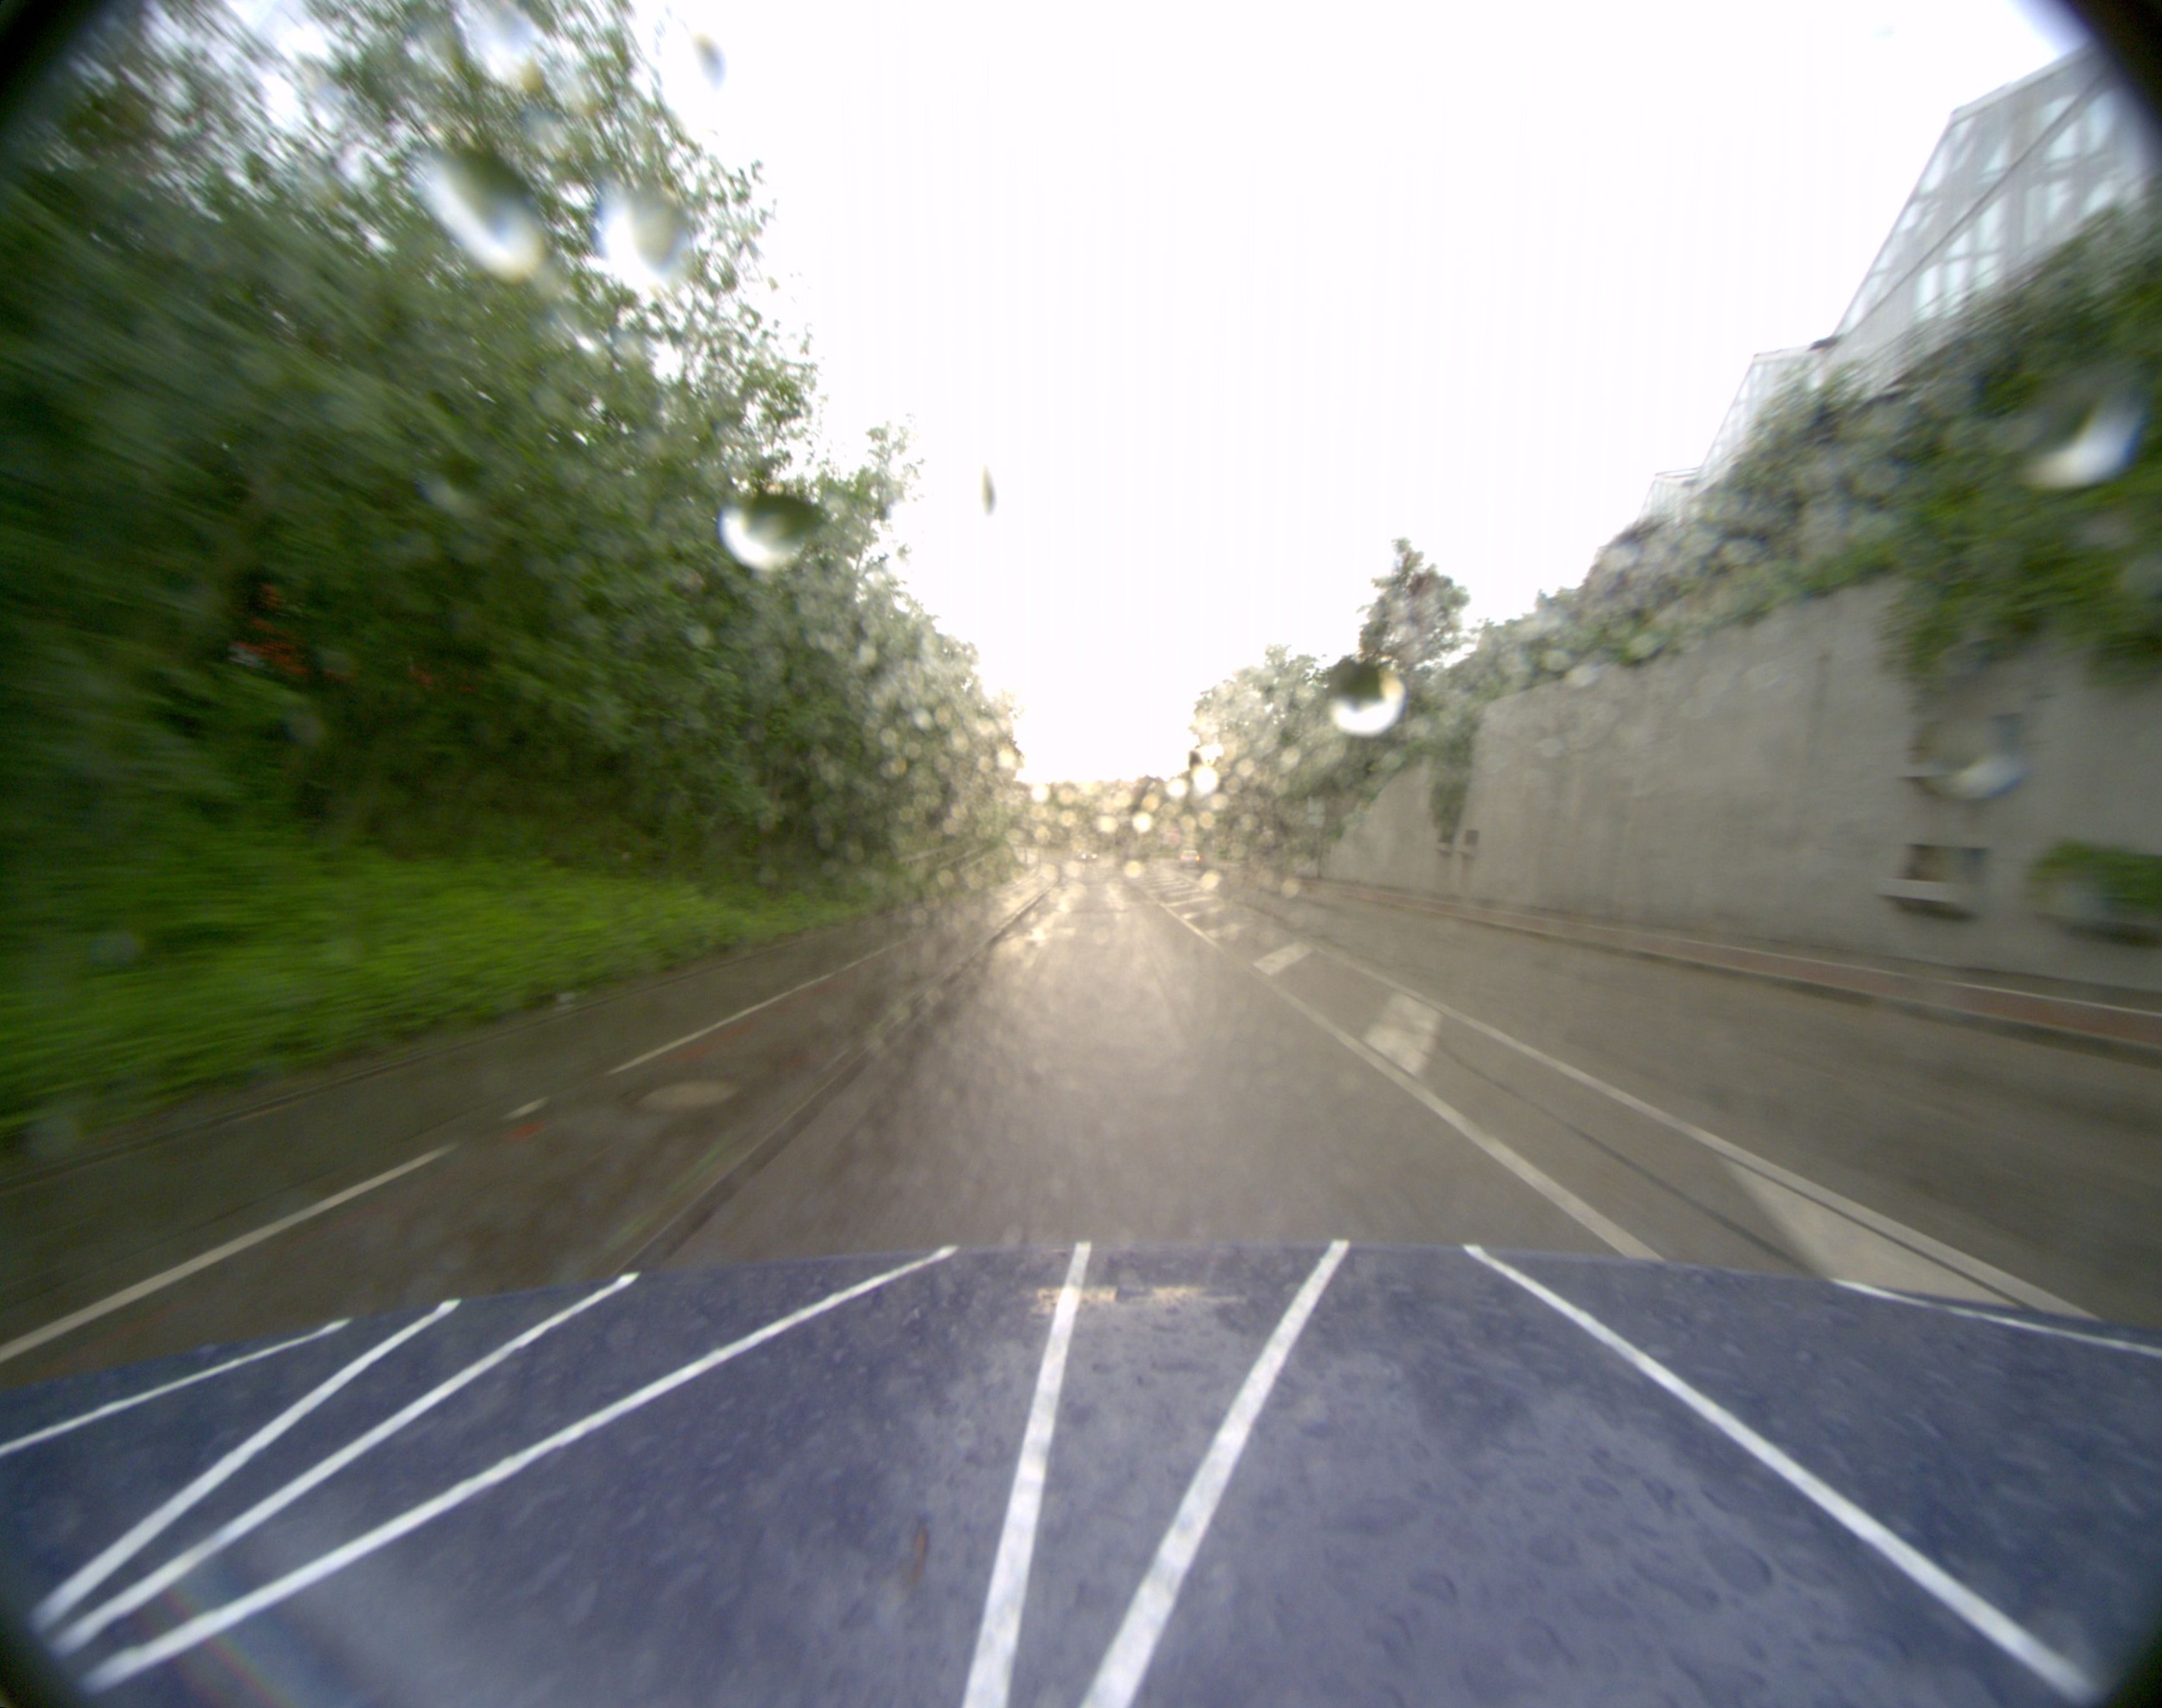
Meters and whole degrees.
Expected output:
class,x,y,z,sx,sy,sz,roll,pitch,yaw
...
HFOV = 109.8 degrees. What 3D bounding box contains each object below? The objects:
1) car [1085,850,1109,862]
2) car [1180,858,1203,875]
class,x,y,z,sx,sy,sz,roll,pitch,yaw
car,1.817,0.192,87.348,1.761,1.387,3.995,-1,0,-13
car,9.719,1.087,66.542,1.514,1.440,3.821,0,0,15
